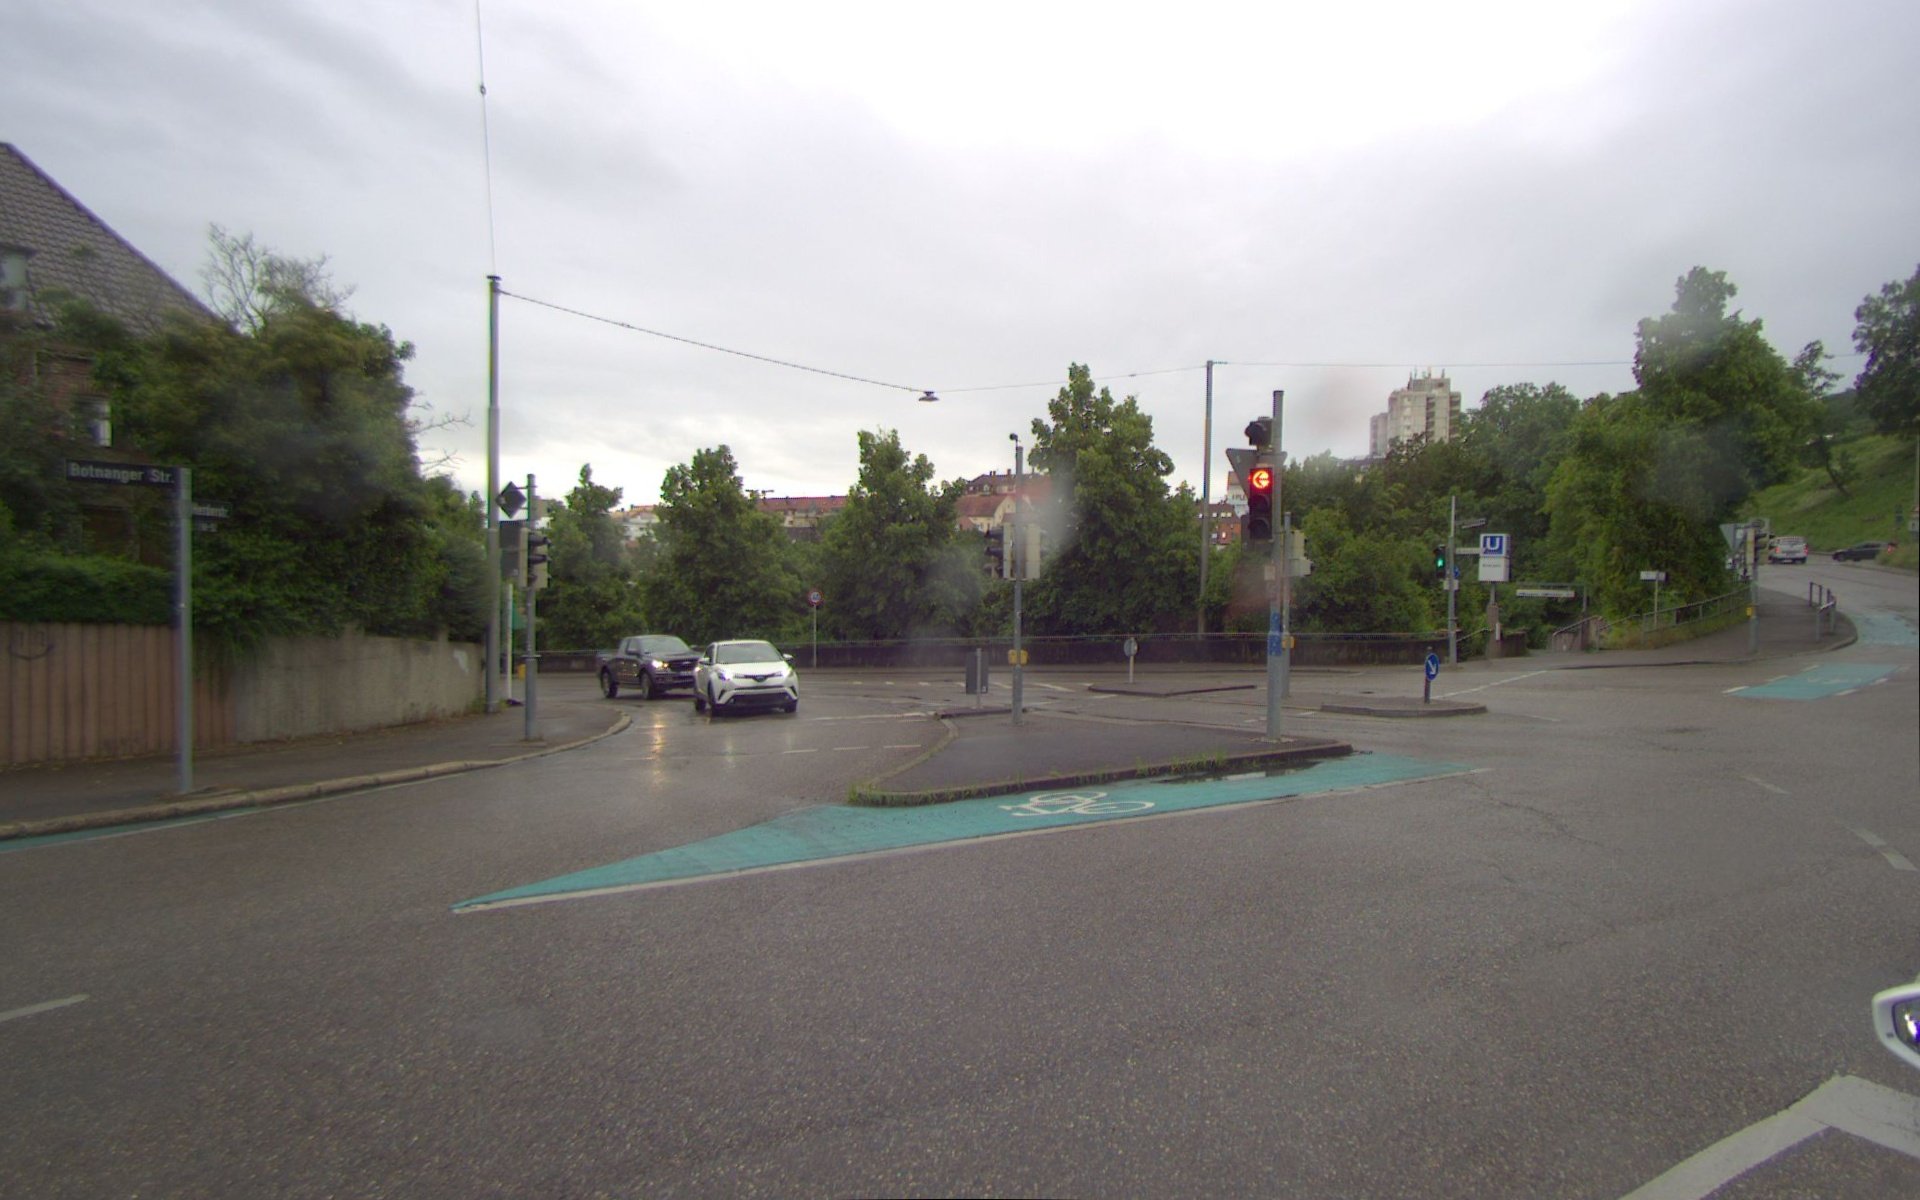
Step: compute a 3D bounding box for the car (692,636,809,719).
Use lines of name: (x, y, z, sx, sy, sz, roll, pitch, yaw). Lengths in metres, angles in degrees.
car: (-4.602, 1.630, 21.617, 1.810, 1.527, 3.866, -2, -2, -21)

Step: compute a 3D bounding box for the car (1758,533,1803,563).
car: (62.137, -3.885, 76.158, 2.037, 2.033, 4.802, 1, 1, 32)

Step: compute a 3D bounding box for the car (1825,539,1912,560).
car: (66.593, -3.681, 73.722, 1.930, 1.532, 4.389, -1, 2, -16)

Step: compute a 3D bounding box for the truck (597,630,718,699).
truck: (-9.124, 1.941, 30.018, 1.890, 1.809, 4.940, -2, -3, -36)
